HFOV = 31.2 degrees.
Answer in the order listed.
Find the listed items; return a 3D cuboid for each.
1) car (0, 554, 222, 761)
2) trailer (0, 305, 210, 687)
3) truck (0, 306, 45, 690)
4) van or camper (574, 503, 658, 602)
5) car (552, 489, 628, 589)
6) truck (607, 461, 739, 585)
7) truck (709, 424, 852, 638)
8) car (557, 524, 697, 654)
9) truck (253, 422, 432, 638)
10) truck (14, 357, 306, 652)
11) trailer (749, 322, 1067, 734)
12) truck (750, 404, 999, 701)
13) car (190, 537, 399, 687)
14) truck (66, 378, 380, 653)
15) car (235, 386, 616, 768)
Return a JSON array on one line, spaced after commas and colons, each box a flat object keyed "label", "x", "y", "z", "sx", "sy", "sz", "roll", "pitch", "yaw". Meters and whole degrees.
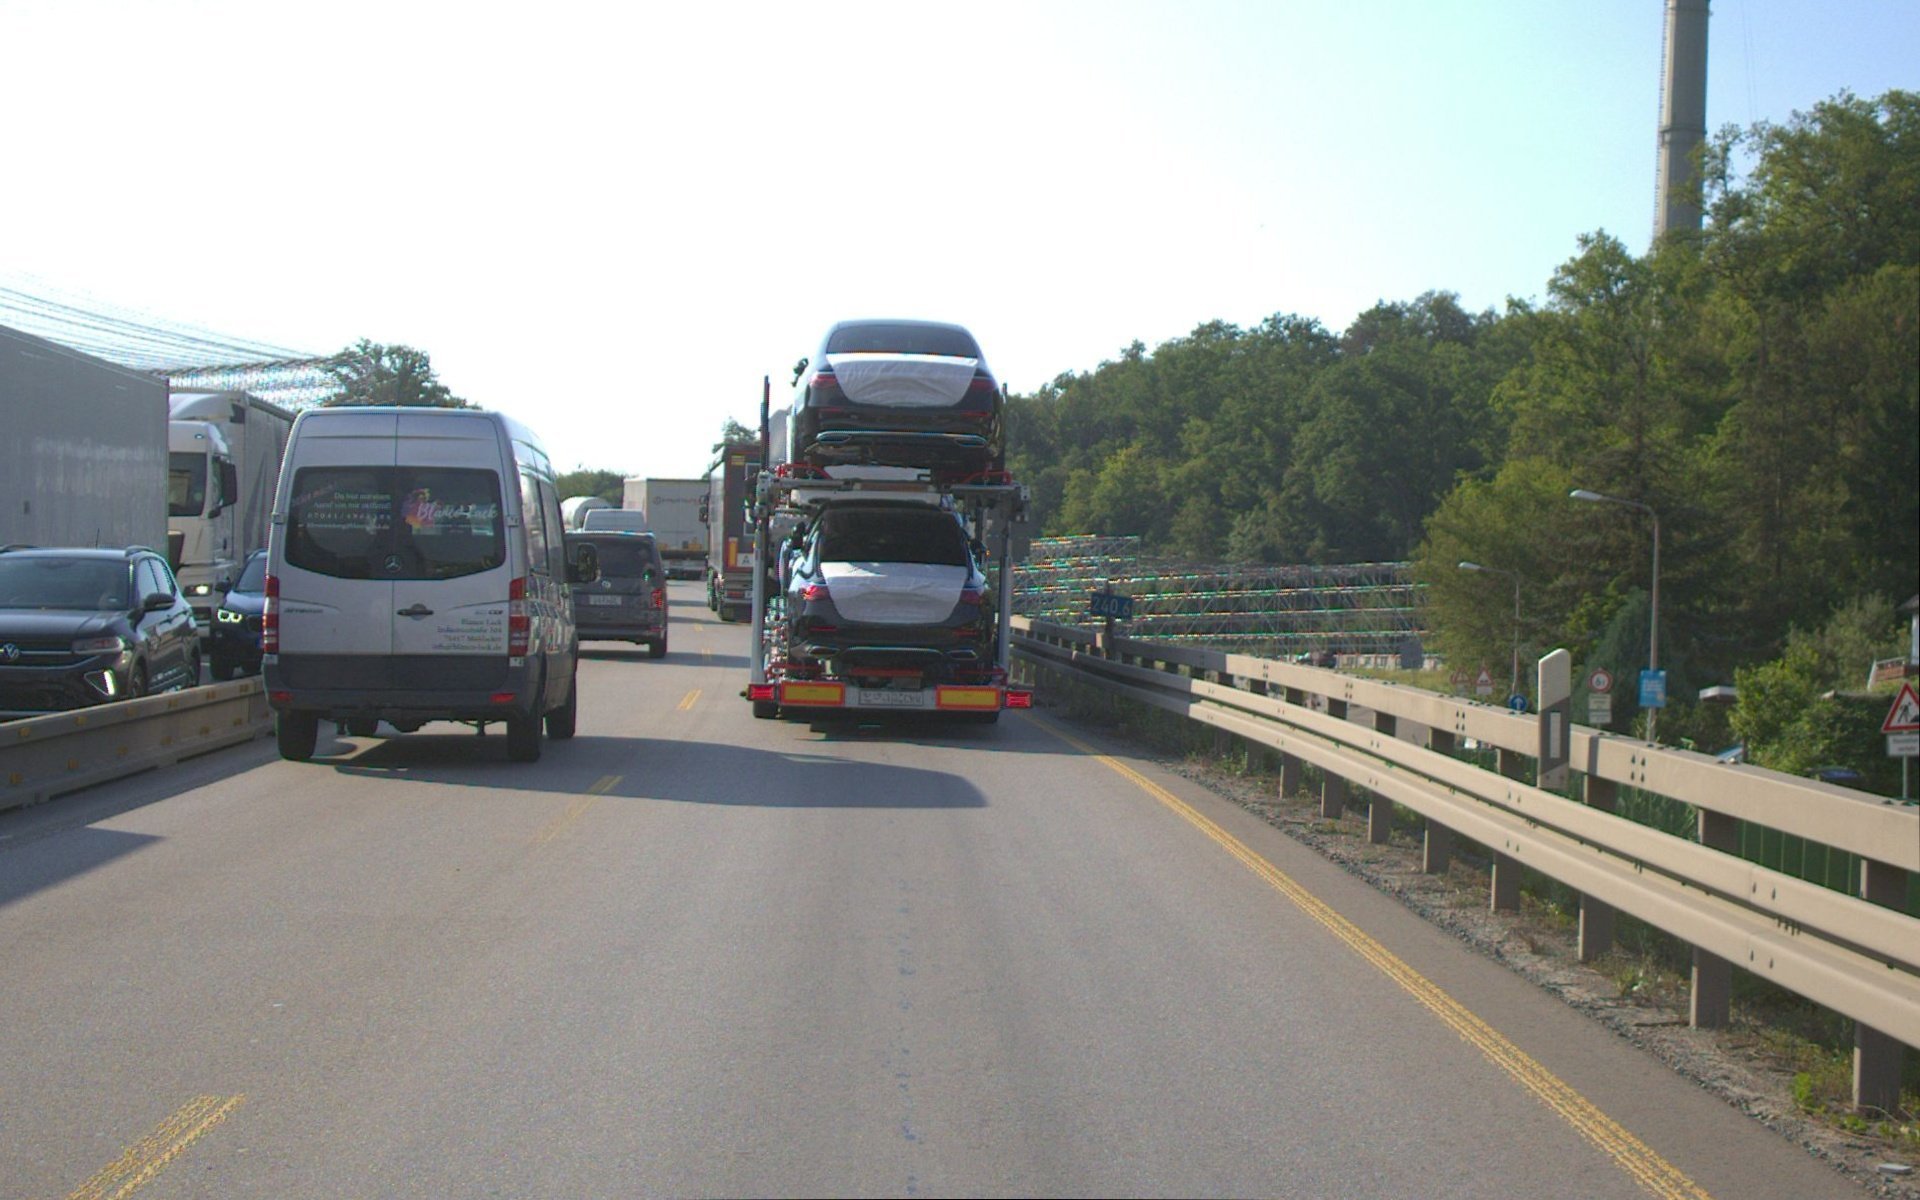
[{"label": "car", "x": -7.393, "y": 0.428, "z": 28.446, "sx": 1.661, "sy": 1.525, "sz": 4.000, "roll": 4, "pitch": -1, "yaw": -1}, {"label": "trailer", "x": -11.906, "y": -1.157, "z": 42.617, "sx": 2.709, "sy": 4.079, "sz": 12.569, "roll": 4, "pitch": -1, "yaw": -2}, {"label": "truck", "x": -11.542, "y": -1.168, "z": 35.065, "sx": 2.709, "sy": 4.079, "sz": 6.204, "roll": 4, "pitch": -1, "yaw": -2}, {"label": "van or camper", "x": -9.727, "y": -1.304, "z": 97.466, "sx": 1.968, "sy": 2.583, "sz": 5.042, "roll": 4, "pitch": -1, "yaw": -3}, {"label": "car", "x": -19.880, "y": -3.249, "z": 184.232, "sx": 3.444, "sy": 5.018, "sz": 9.655, "roll": 4, "pitch": 0, "yaw": -8}, {"label": "truck", "x": -11.922, "y": -3.139, "z": 141.731, "sx": 4.064, "sy": 4.663, "sz": 10.595, "roll": 3, "pitch": 0, "yaw": -11}, {"label": "truck", "x": -4.141, "y": -1.555, "z": 80.029, "sx": 2.907, "sy": 4.591, "sz": 7.287, "roll": 3, "pitch": 0, "yaw": -2}, {"label": "car", "x": -5.357, "y": -0.146, "z": 55.755, "sx": 1.808, "sy": 1.897, "sz": 4.000, "roll": 4, "pitch": -1, "yaw": -1}, {"label": "truck", "x": -13.393, "y": -1.465, "z": 75.120, "sx": 2.436, "sy": 4.341, "sz": 7.518, "roll": 3, "pitch": 0, "yaw": -1}, {"label": "truck", "x": -12.512, "y": -1.429, "z": 54.457, "sx": 2.982, "sy": 4.139, "sz": 7.393, "roll": 4, "pitch": 0, "yaw": -3}, {"label": "trailer", "x": -0.767, "y": -0.582, "z": 37.594, "sx": 2.682, "sy": 3.523, "sz": 15.289, "roll": 2, "pitch": 0, "yaw": -2}, {"label": "truck", "x": -1.249, "y": -0.556, "z": 45.337, "sx": 2.682, "sy": 3.523, "sz": 7.194, "roll": 2, "pitch": 0, "yaw": -6}, {"label": "car", "x": -8.358, "y": 0.160, "z": 43.493, "sx": 1.806, "sy": 1.678, "sz": 4.000, "roll": 4, "pitch": -1, "yaw": -1}, {"label": "truck", "x": -12.959, "y": -1.394, "z": 62.181, "sx": 2.982, "sy": 4.139, "sz": 15.857, "roll": 4, "pitch": 0, "yaw": -4}, {"label": "car", "x": -4.122, "y": -0.187, "z": 27.472, "sx": 1.993, "sy": 2.639, "sz": 5.530, "roll": 3, "pitch": 0, "yaw": 1}]
